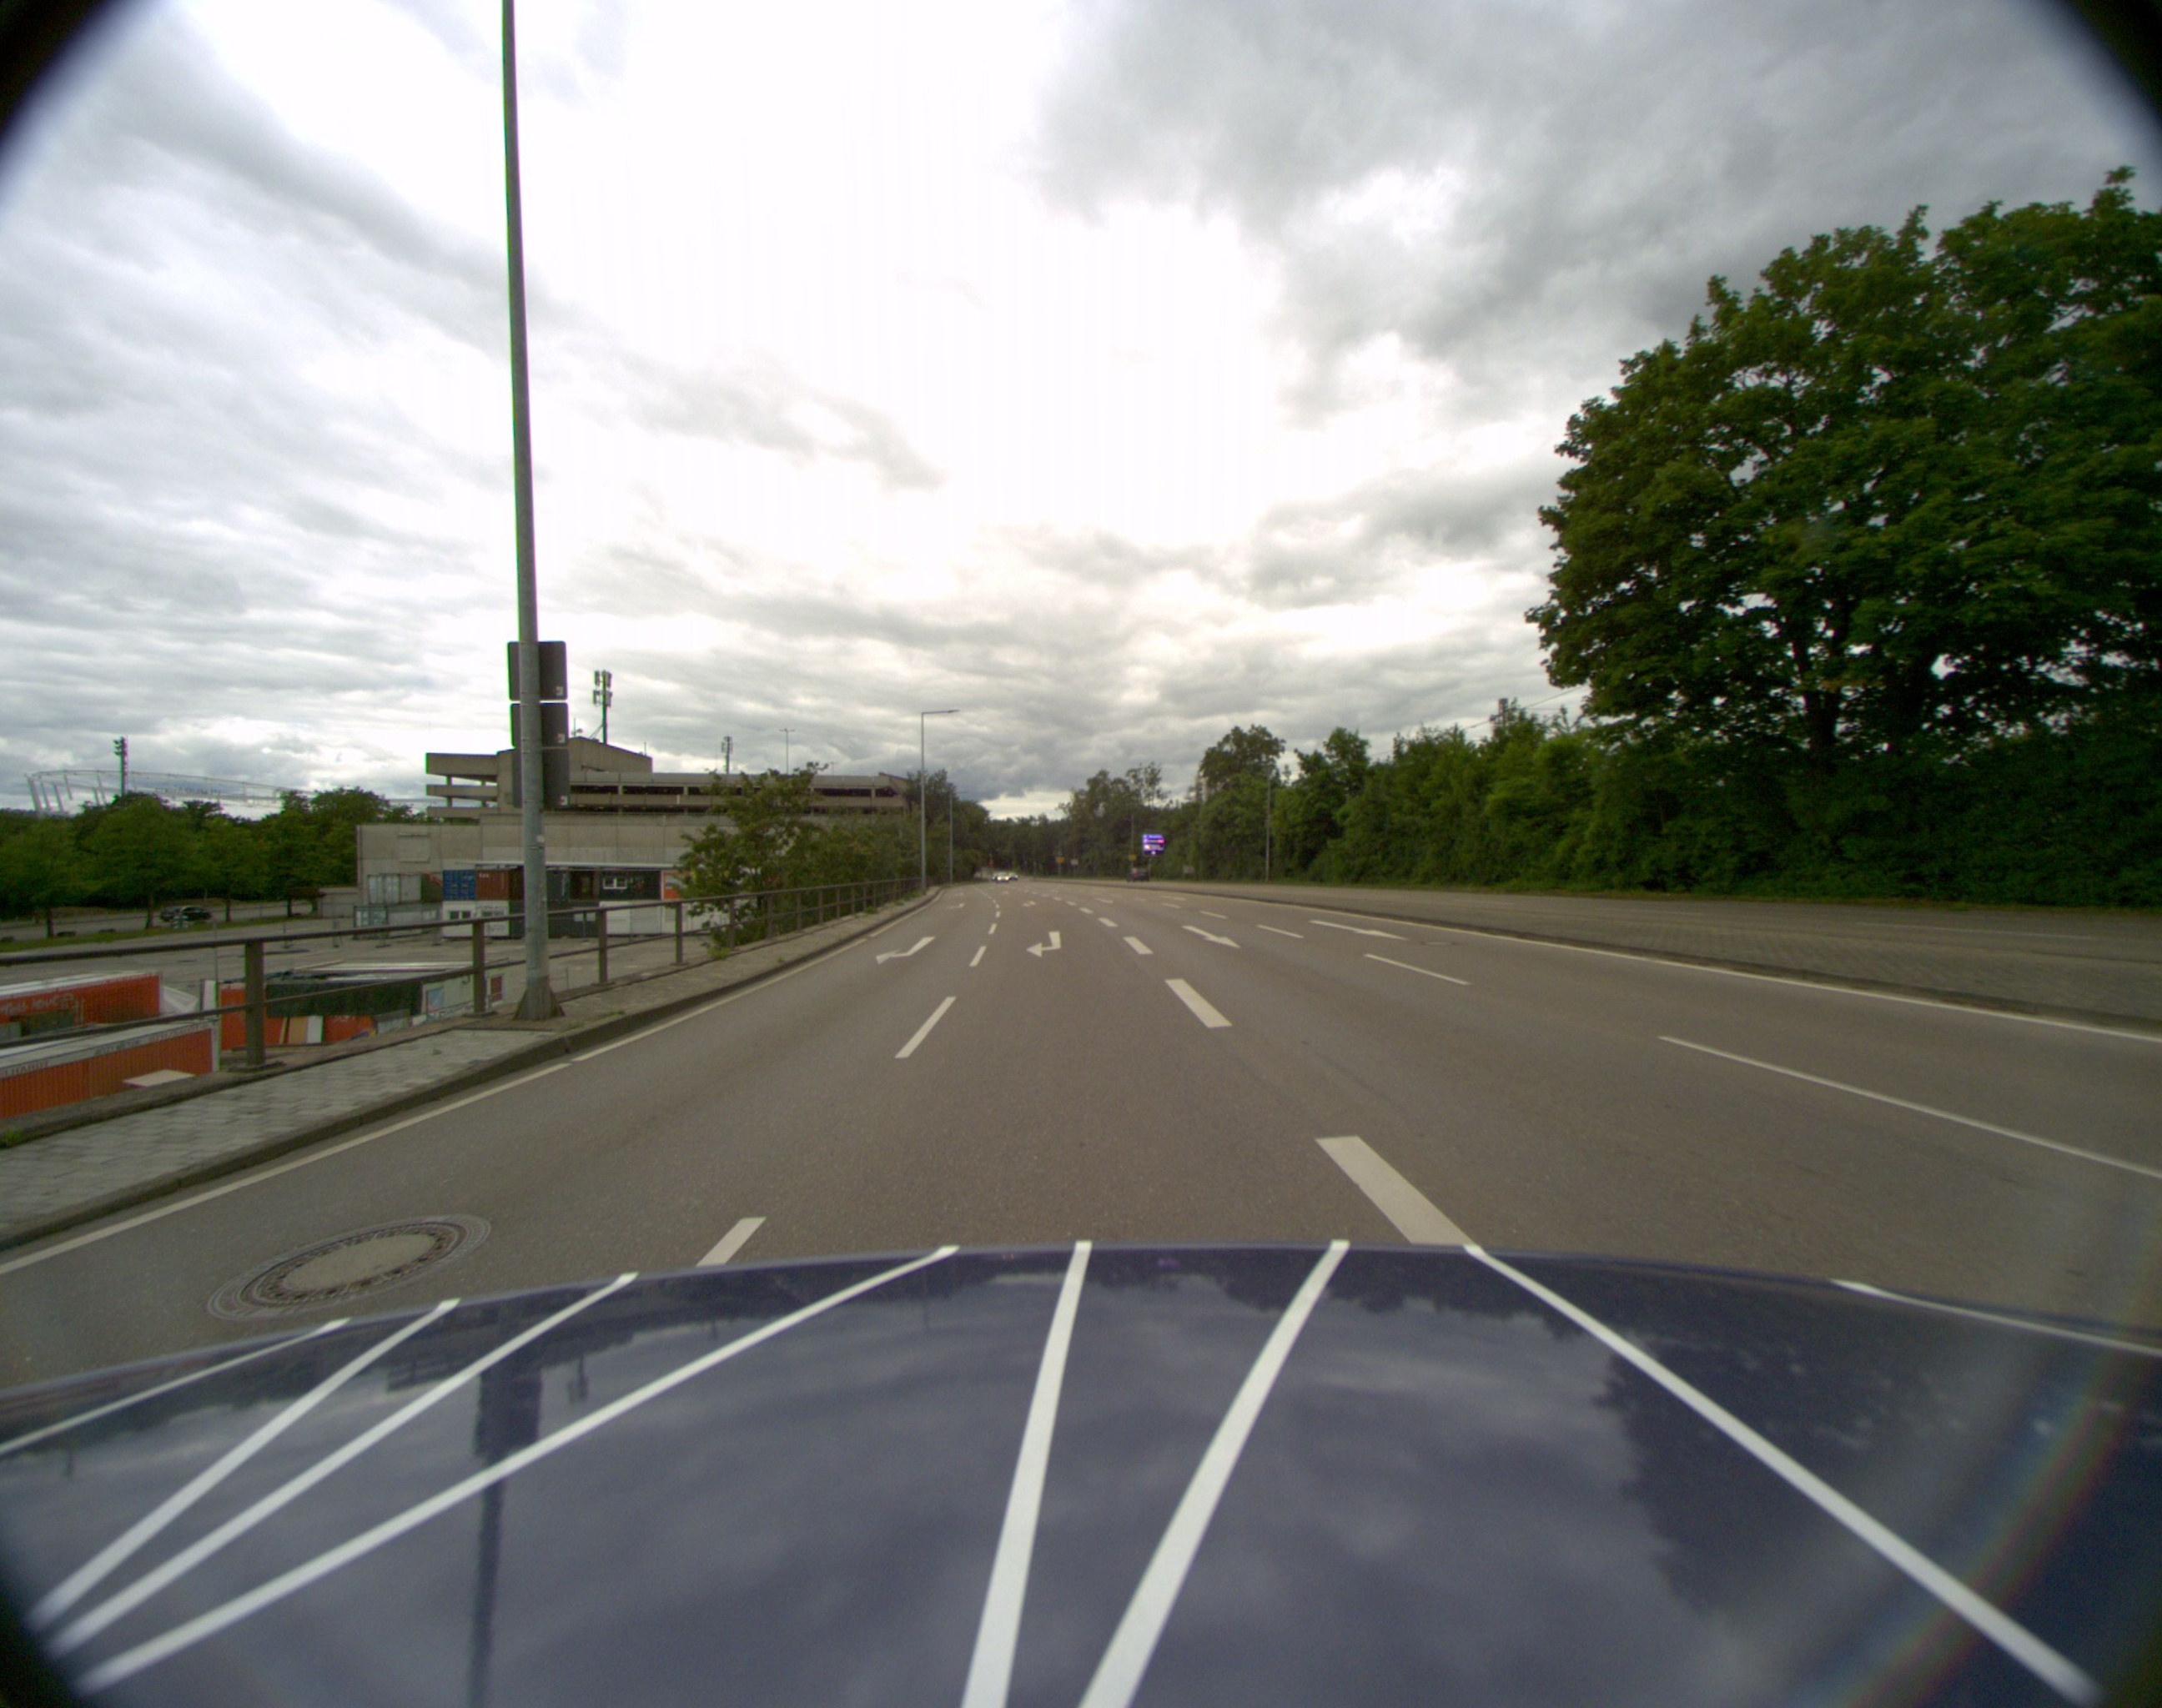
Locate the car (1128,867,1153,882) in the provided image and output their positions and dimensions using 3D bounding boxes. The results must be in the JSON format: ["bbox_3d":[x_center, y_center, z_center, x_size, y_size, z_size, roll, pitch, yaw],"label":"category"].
[{"bbox_3d":[6.065,2.087,78.094,1.704,1.455,3.998,-3,0,-7],"label":"car"}]

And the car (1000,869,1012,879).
[{"bbox_3d":[-10.761,2.891,109.038,1.610,1.408,3.589,-2,-1,-8],"label":"car"}]

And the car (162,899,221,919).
[{"bbox_3d":[-98.636,6.076,84.304,2.000,1.805,3.997,-5,1,-9],"label":"car"}]

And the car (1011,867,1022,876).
[{"bbox_3d":[-11.984,3.243,141.146,1.843,1.408,4.578,-2,-1,-7],"label":"car"}]

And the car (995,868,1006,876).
[{"bbox_3d":[-15.099,3.309,142.279,1.865,1.408,4.337,-2,-1,-5],"label":"car"}]
